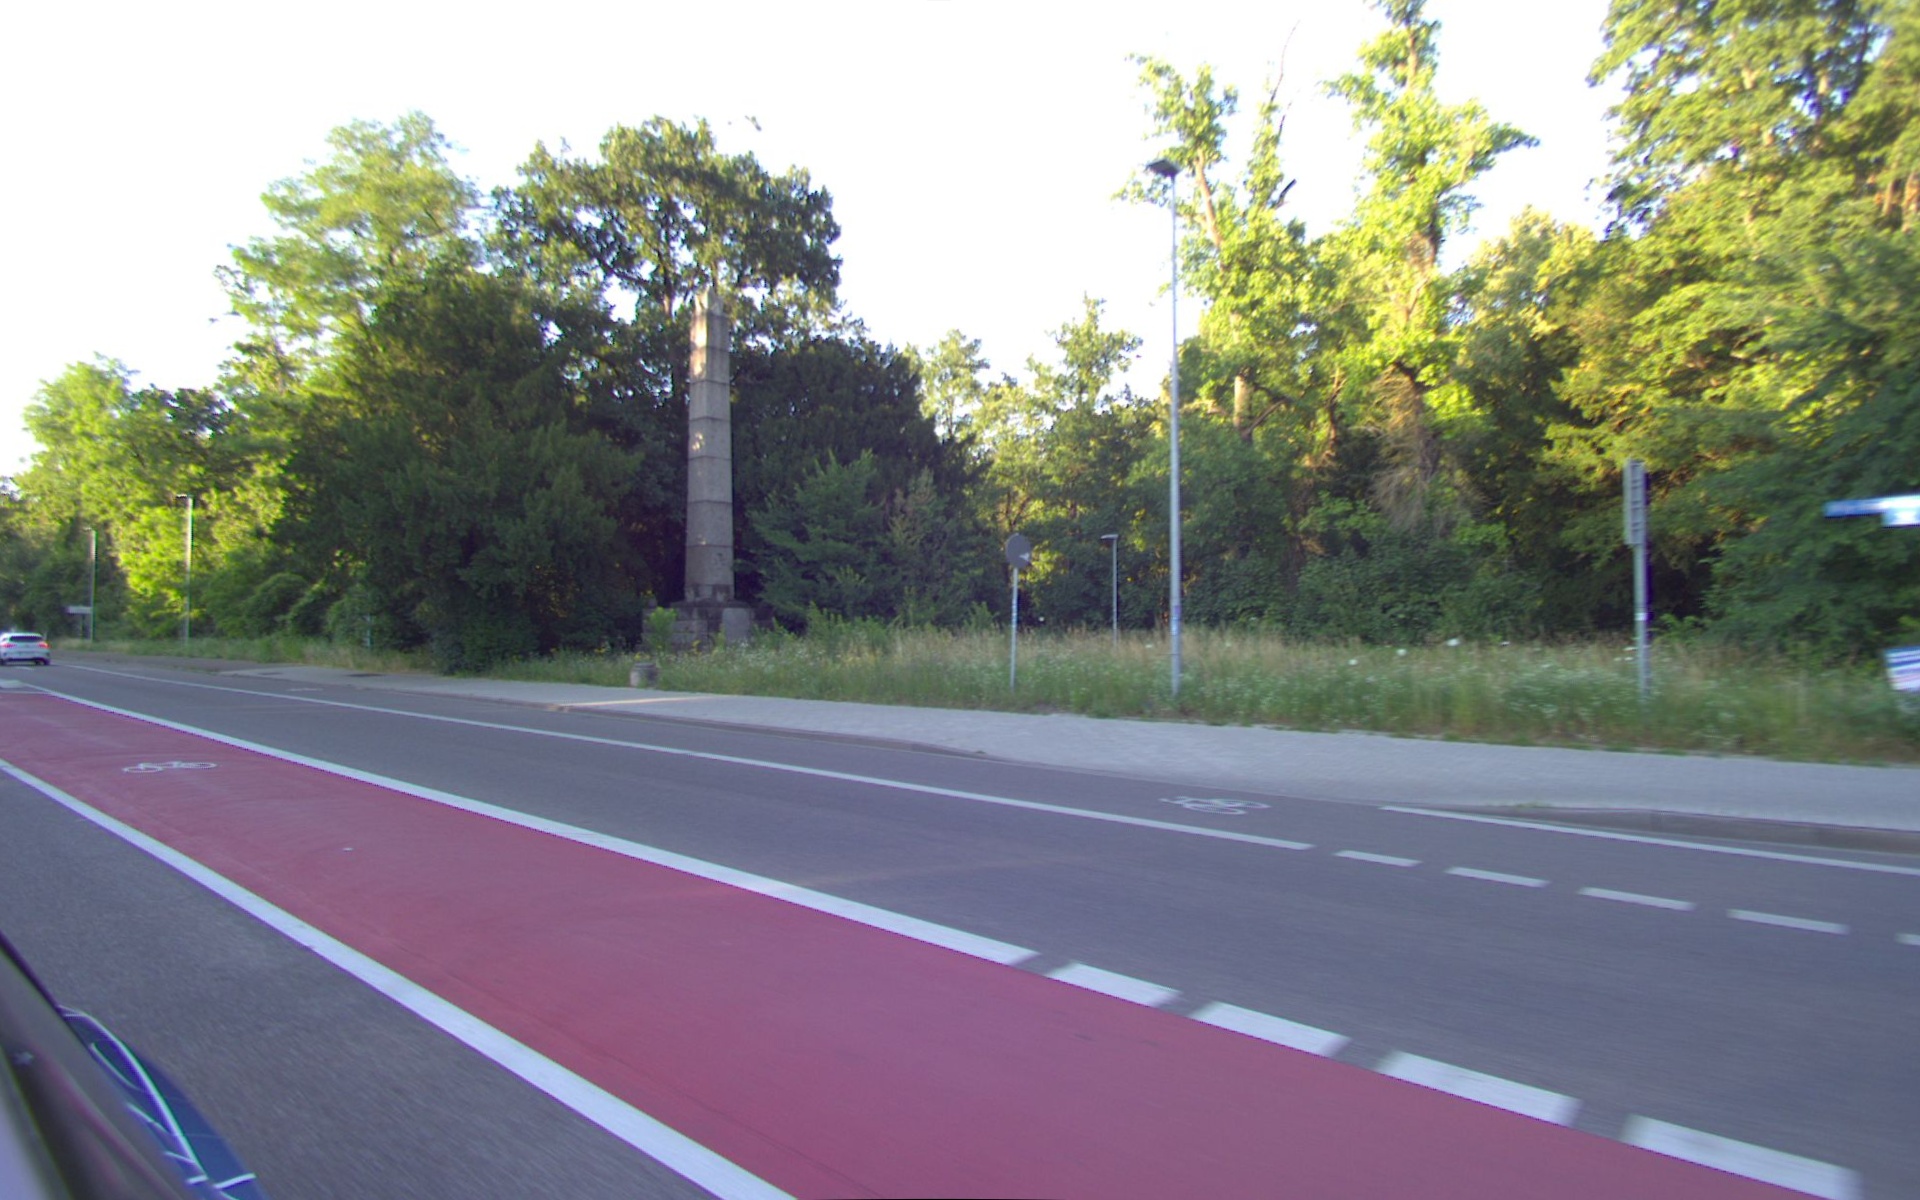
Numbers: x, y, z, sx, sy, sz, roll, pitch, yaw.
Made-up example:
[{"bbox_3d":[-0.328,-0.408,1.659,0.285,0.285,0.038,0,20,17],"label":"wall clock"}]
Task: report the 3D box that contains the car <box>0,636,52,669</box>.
[{"bbox_3d":[-42.176,2.308,45.228,4.177,1.425,1.828,-2,-2,40],"label":"car"}]
